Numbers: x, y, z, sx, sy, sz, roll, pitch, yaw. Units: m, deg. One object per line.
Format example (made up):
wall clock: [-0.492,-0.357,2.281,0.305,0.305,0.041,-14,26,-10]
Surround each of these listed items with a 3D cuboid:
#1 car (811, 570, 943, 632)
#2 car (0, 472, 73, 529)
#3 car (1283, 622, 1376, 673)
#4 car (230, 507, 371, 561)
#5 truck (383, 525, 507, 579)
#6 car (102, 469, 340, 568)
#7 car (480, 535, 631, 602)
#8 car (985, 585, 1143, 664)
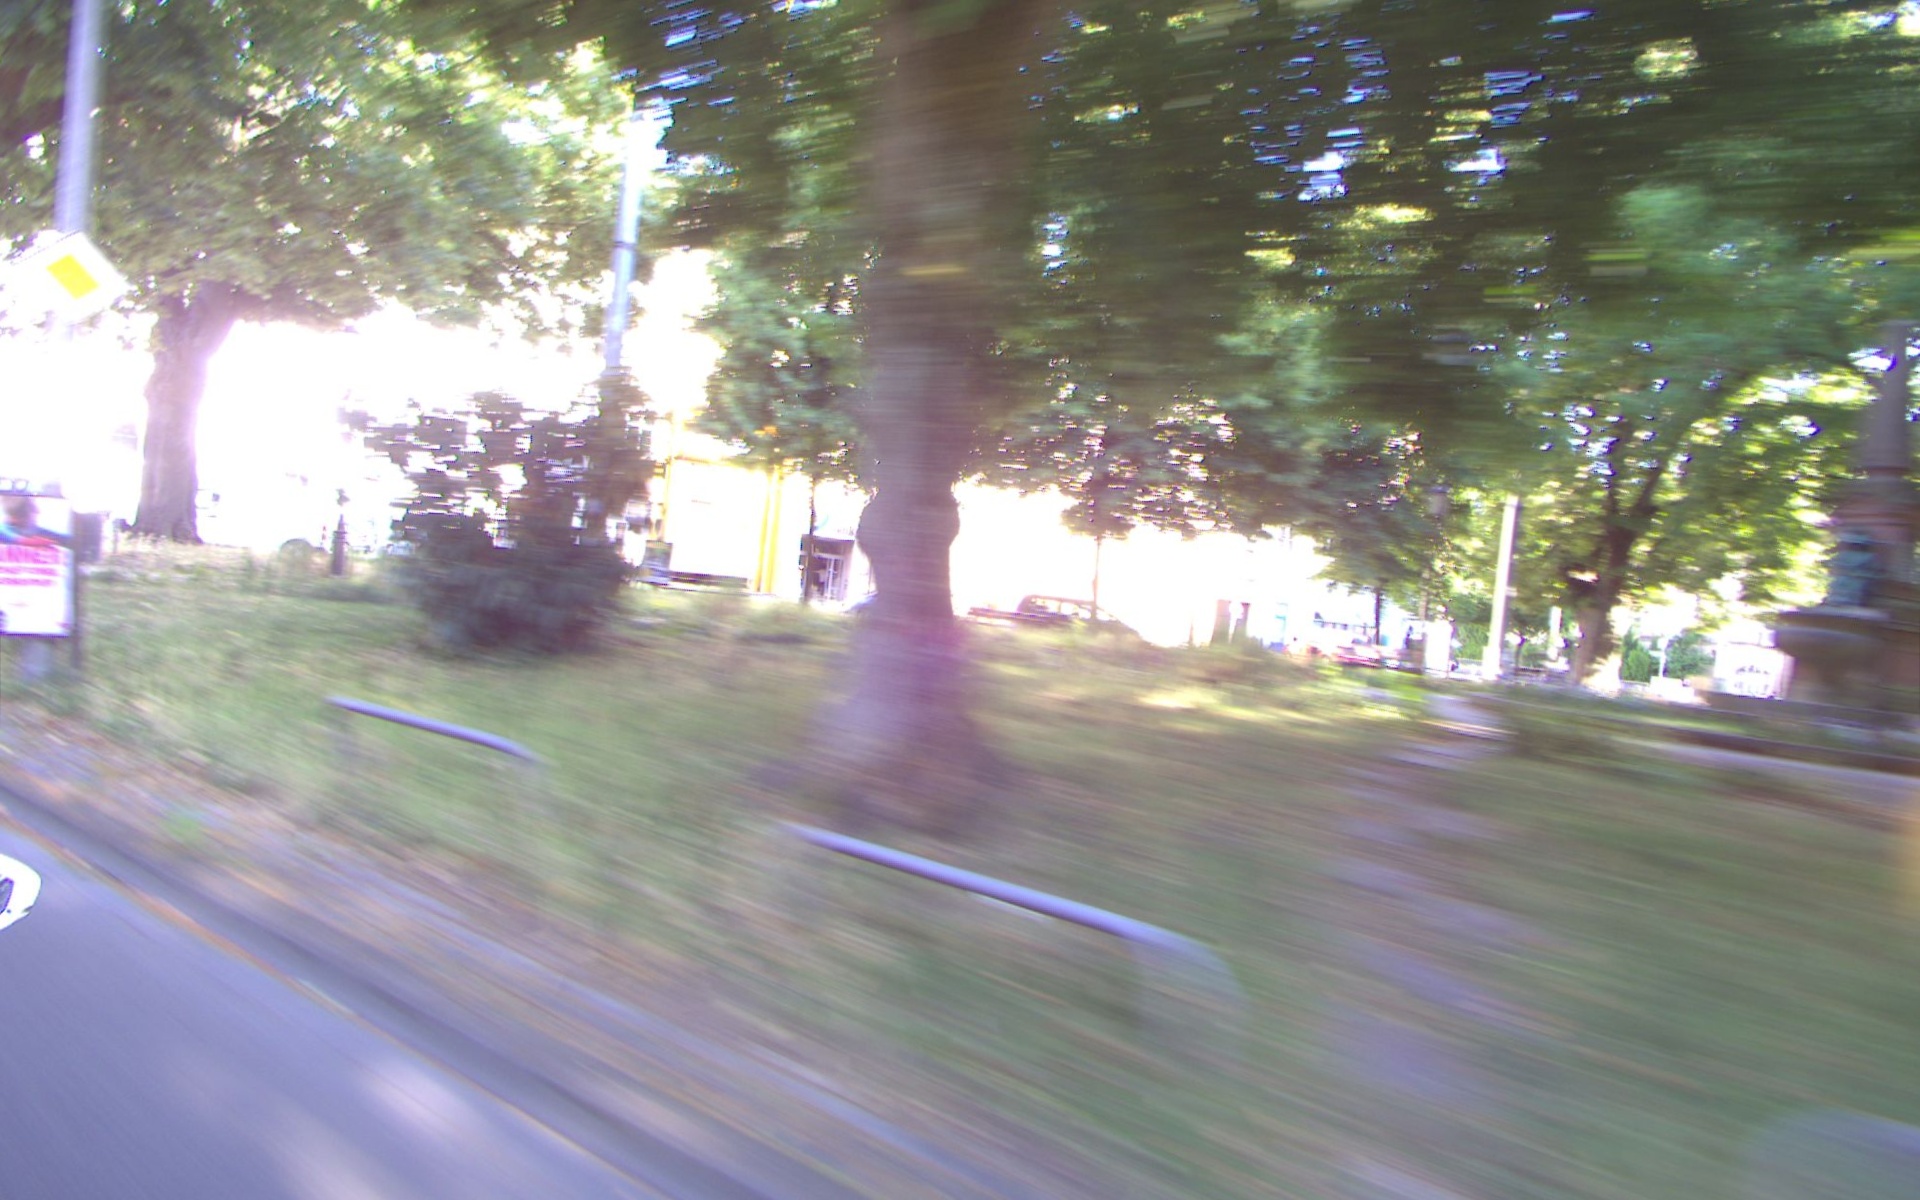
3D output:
car: [-2.836,0.019,34.167,4.013,1.538,1.991,7,1,-19]
car: [-34.676,-3.731,35.761,4.147,1.771,1.992,7,1,-18]
car: [18.096,2.292,49.453,1.971,1.945,4.053,7,0,-19]
car: [-25.293,-2.508,38.758,4.036,1.470,1.992,7,1,-18]
truck: [-20.774,-1.918,40.788,4.036,1.605,1.992,7,1,-18]
car: [-19.857,-2.153,27.355,4.847,1.877,1.985,7,1,-29]
car: [-12.395,-0.964,31.098,4.009,1.462,1.993,7,1,-16]
car: [2.980,0.690,29.051,3.939,1.815,1.993,6,-1,-17]
